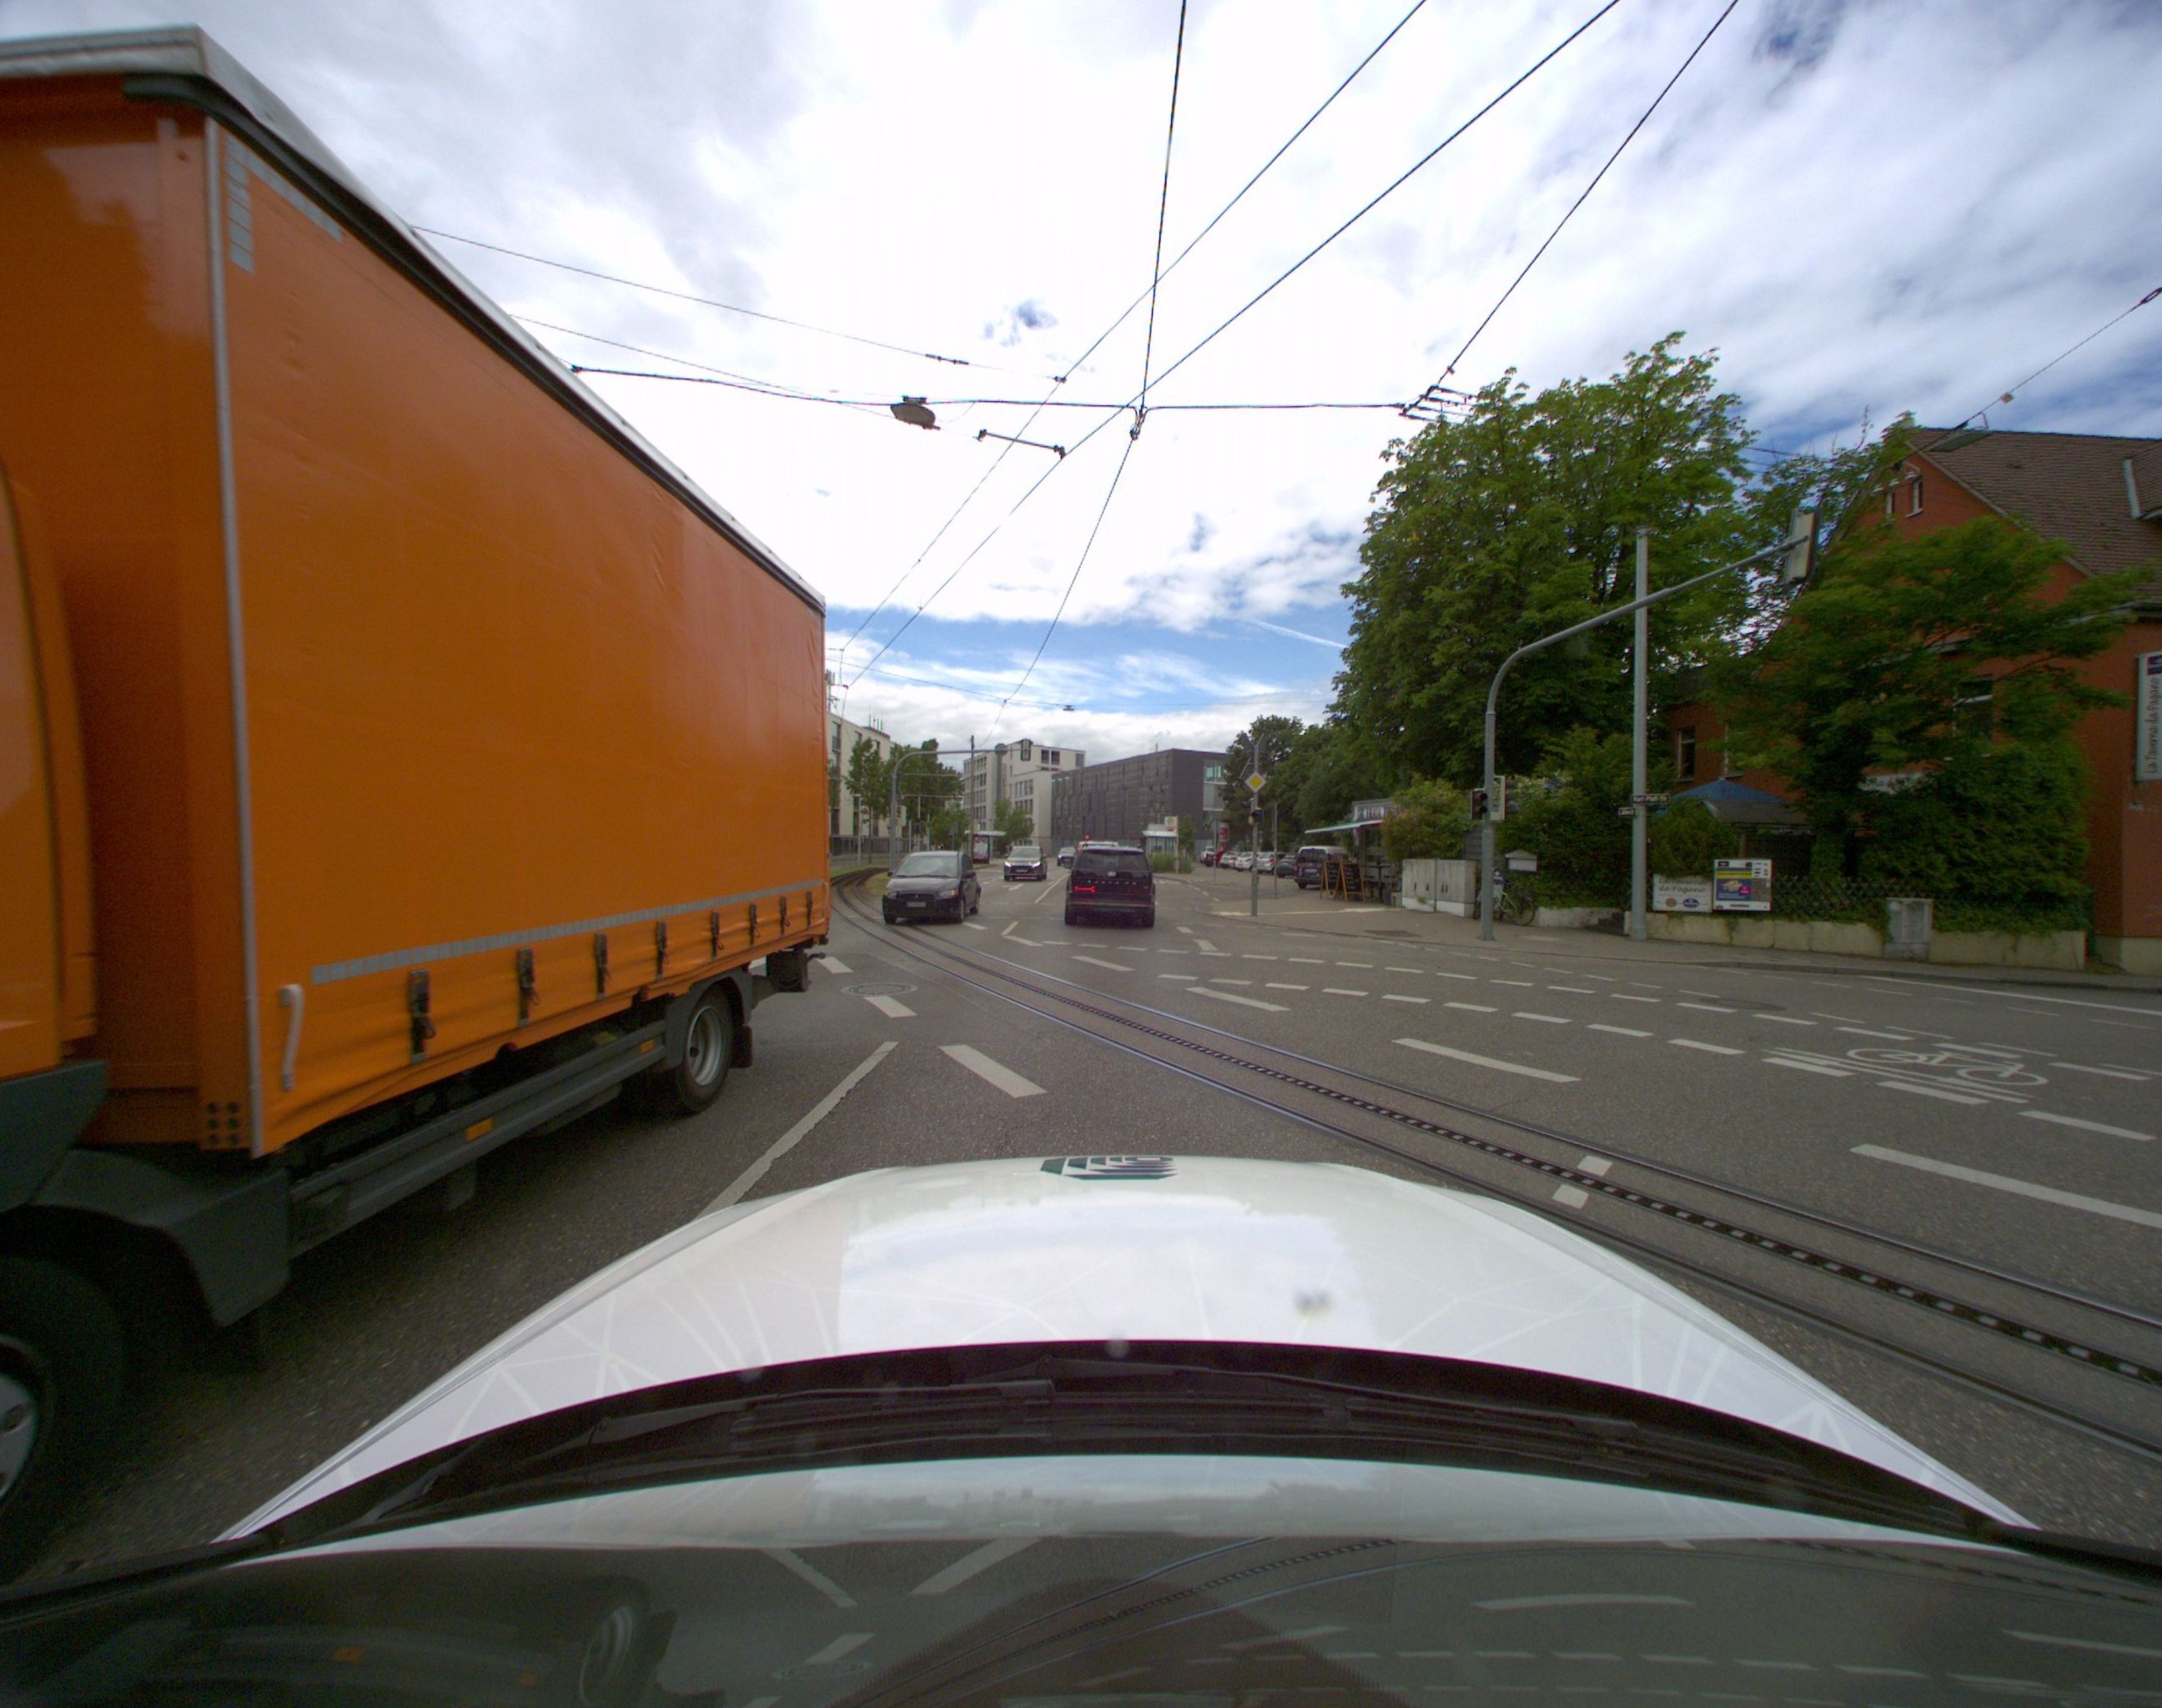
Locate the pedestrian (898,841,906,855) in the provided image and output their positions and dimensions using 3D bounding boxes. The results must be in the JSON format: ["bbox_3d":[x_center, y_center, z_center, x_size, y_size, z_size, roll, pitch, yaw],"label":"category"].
[{"bbox_3d":[-21.289,-0.694,96.864,0.611,1.694,0.785,2,-1,1],"label":"pedestrian"}]

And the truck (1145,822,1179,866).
[{"bbox_3d":[6.888,-0.870,69.850,2.562,3.525,7.818,1,1,3],"label":"truck"}]

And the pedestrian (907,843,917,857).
[{"bbox_3d":[-20.036,-0.461,96.640,0.916,1.719,0.906,1,0,1],"label":"pedestrian"}]

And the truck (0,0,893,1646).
[{"bbox_3d":[-3.399,-0.369,4.107,2.760,3.718,8.469,-2,0,0],"label":"truck"}]

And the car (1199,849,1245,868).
[{"bbox_3d":[11.844,0.348,68.438,3.510,1.455,1.666,2,0,-27],"label":"car"}]

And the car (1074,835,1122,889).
[{"bbox_3d":[0.643,0.273,33.554,1.850,2.033,4.436,0,1,-1],"label":"car"}]

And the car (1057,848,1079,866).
[{"bbox_3d":[-1.126,0.245,72.193,1.733,1.559,4.184,0,0,1],"label":"car"}]

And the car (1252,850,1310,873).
[{"bbox_3d":[12.816,0.463,52.228,3.526,1.378,1.533,0,2,-29],"label":"car"}]

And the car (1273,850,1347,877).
[{"bbox_3d":[13.174,0.555,46.785,4.012,1.477,1.862,1,0,-30],"label":"car"}]

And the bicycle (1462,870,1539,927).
[{"bbox_3d":[9.917,1.031,19.335,0.548,1.138,1.872,1,4,-10],"label":"bicycle"}]

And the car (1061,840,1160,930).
[{"bbox_3d":[0.587,0.592,18.325,1.909,1.725,4.169,2,1,-1],"label":"car"}]

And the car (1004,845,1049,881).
[{"bbox_3d":[-2.582,0.380,39.593,1.781,1.661,4.278,0,0,2],"label":"car"}]

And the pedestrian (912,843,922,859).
[{"bbox_3d":[-17.897,-0.355,88.921,0.916,1.719,0.906,1,0,1],"label":"pedestrian"}]

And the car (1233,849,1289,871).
[{"bbox_3d":[12.718,0.439,57.398,3.657,1.435,1.578,-1,-1,-26],"label":"car"}]

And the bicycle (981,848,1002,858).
[{"bbox_3d":[-9.794,-0.121,89.245,2.090,1.106,0.632,2,0,3],"label":"bicycle"}]

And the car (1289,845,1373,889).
[{"bbox_3d":[10.830,0.489,35.066,1.828,1.748,4.725,1,1,39],"label":"car"}]

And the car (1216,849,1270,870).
[{"bbox_3d":[12.623,0.421,63.339,3.813,1.474,1.782,3,-1,-29],"label":"car"}]

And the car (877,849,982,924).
[{"bbox_3d":[-3.331,0.657,18.569,1.669,1.505,3.732,-2,0,-1],"label":"car"}]

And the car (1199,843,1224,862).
[{"bbox_3d":[13.308,-0.125,83.182,1.986,1.838,4.519,-1,0,2],"label":"car"}]

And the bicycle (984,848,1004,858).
[{"bbox_3d":[-9.652,-0.111,89.964,2.090,1.106,0.632,2,0,3],"label":"bicycle"}]
